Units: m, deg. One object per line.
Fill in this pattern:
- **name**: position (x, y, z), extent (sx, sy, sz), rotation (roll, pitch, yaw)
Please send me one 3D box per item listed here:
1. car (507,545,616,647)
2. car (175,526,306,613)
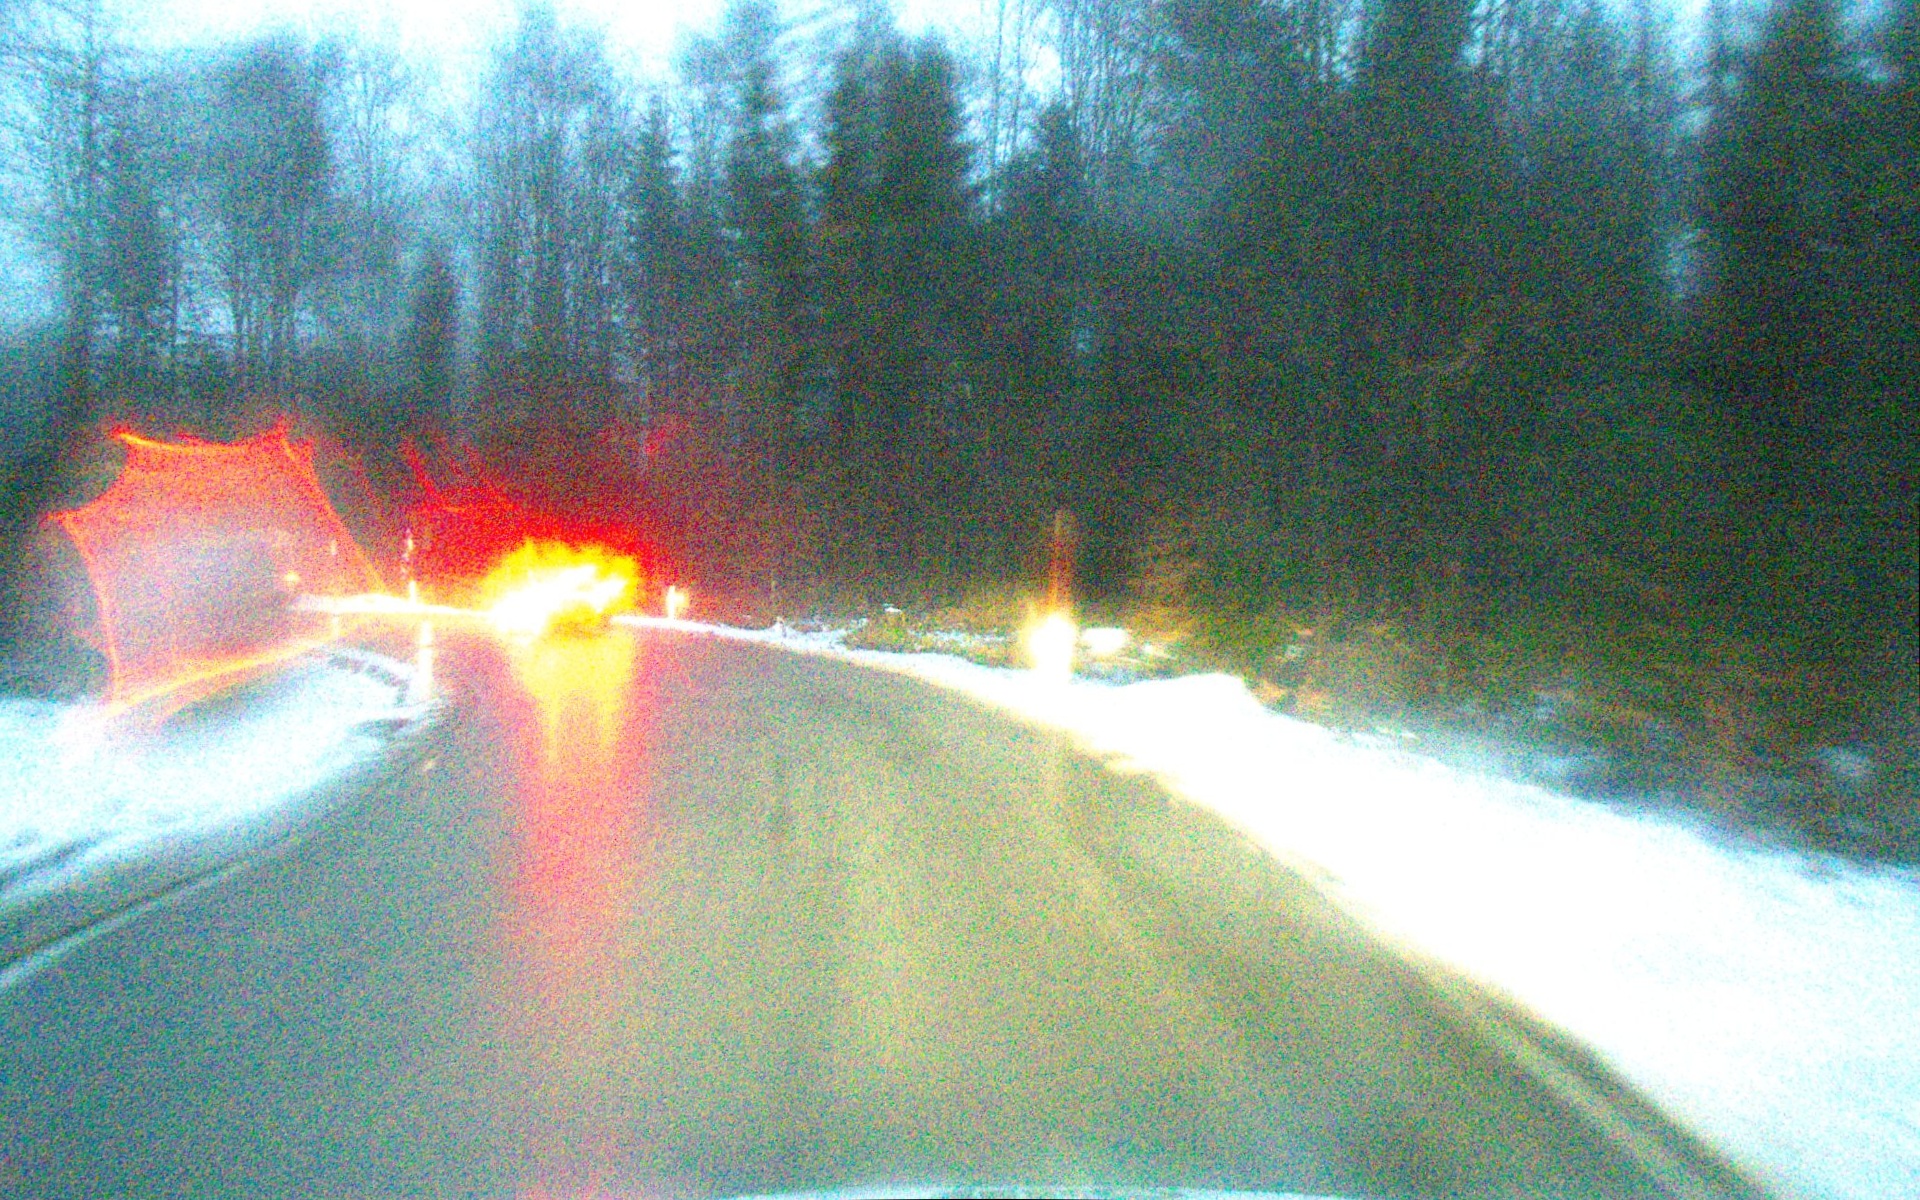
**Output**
- **car**: position (-9.210, -0.109, 38.000), extent (1.964, 2.087, 3.978), rotation (-4, 2, -19)
- **car**: position (-23.415, -0.995, 53.740), extent (2.244, 2.691, 4.923), rotation (-3, 2, -45)
